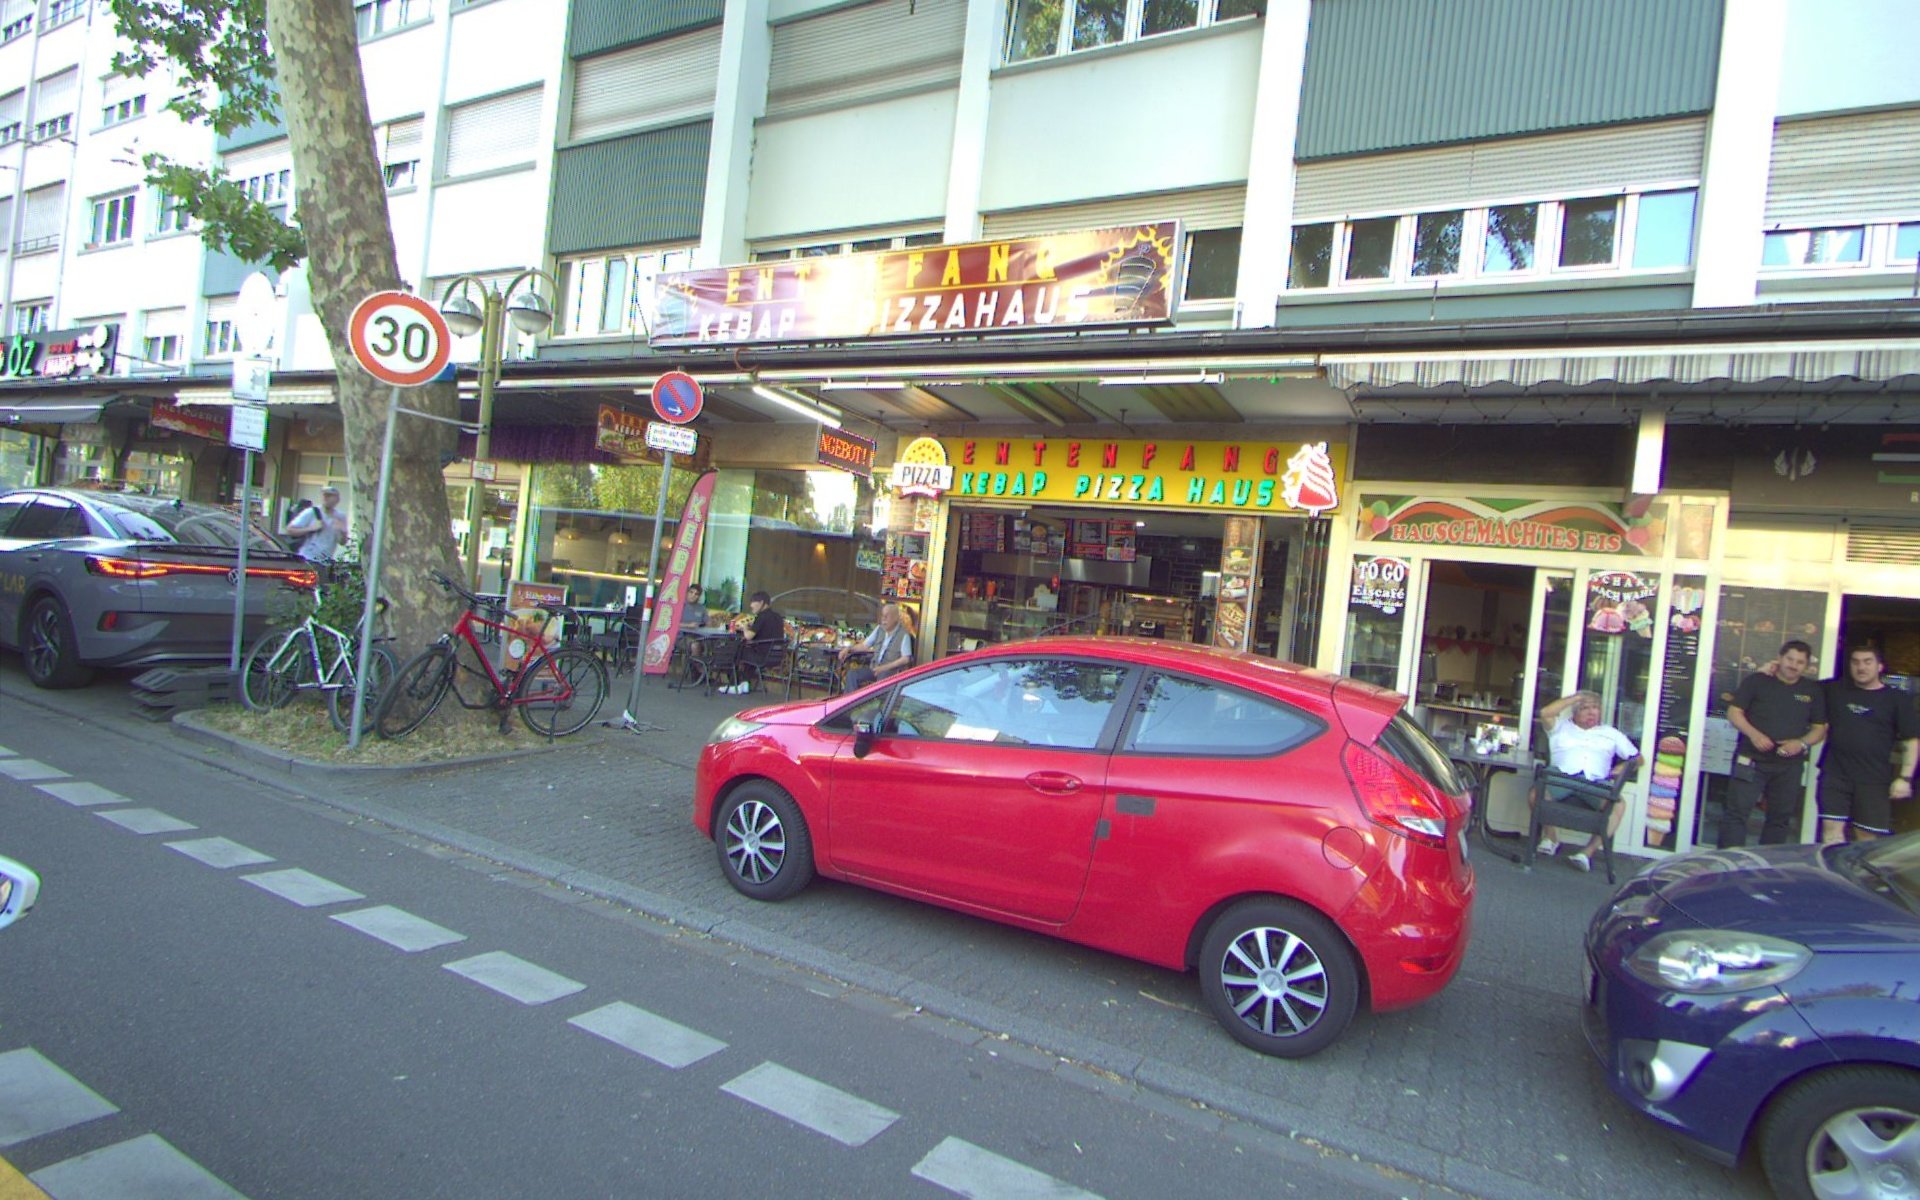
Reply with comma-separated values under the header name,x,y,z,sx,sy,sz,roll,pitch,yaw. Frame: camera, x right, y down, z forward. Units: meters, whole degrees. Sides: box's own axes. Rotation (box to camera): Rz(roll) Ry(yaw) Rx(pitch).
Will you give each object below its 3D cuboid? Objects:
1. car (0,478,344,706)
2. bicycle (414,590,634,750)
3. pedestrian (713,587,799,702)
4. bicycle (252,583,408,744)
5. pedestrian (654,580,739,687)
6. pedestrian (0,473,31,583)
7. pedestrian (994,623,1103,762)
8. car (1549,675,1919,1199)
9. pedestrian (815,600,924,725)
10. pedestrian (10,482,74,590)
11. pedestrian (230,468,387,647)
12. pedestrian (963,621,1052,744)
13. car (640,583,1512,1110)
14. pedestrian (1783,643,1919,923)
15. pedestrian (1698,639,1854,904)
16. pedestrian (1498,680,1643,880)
name,x,y,z,sx,sy,sz,roll,pitch,yaw
car,-7.842,-0.204,9.217,4.223,1.619,1.742,7,2,27
bicycle,-3.234,0.505,7.562,0.291,1.082,1.455,12,7,42
pedestrian,-2.391,0.509,11.802,0.701,1.260,0.614,7,3,41
bicycle,-4.445,0.426,7.084,1.110,0.941,0.295,9,6,21
pedestrian,-3.236,0.407,12.365,0.694,1.220,0.675,7,3,42
pedestrian,-18.345,-1.387,19.120,0.684,2.039,0.691,7,1,30
pedestrian,0.831,0.838,9.416,0.740,1.172,0.593,6,3,33
car,3.870,1.224,2.908,3.543,1.485,1.620,7,2,29
pedestrian,-0.979,0.661,10.870,0.861,1.237,0.688,2,3,-44
pedestrian,-18.171,-1.266,19.918,0.684,2.039,0.613,7,1,30
pedestrian,-7.599,-0.485,11.746,1.104,1.913,1.023,6,0,31
pedestrian,0.492,0.825,10.386,0.585,1.172,0.671,6,3,31
car,0.476,0.846,4.998,3.780,1.448,1.668,7,2,27
pedestrian,6.336,1.228,7.027,0.636,1.783,0.610,8,3,32
pedestrian,5.872,1.196,7.282,0.587,1.759,0.588,8,3,30
pedestrian,4.636,1.296,7.626,0.767,1.249,1.202,6,3,33
